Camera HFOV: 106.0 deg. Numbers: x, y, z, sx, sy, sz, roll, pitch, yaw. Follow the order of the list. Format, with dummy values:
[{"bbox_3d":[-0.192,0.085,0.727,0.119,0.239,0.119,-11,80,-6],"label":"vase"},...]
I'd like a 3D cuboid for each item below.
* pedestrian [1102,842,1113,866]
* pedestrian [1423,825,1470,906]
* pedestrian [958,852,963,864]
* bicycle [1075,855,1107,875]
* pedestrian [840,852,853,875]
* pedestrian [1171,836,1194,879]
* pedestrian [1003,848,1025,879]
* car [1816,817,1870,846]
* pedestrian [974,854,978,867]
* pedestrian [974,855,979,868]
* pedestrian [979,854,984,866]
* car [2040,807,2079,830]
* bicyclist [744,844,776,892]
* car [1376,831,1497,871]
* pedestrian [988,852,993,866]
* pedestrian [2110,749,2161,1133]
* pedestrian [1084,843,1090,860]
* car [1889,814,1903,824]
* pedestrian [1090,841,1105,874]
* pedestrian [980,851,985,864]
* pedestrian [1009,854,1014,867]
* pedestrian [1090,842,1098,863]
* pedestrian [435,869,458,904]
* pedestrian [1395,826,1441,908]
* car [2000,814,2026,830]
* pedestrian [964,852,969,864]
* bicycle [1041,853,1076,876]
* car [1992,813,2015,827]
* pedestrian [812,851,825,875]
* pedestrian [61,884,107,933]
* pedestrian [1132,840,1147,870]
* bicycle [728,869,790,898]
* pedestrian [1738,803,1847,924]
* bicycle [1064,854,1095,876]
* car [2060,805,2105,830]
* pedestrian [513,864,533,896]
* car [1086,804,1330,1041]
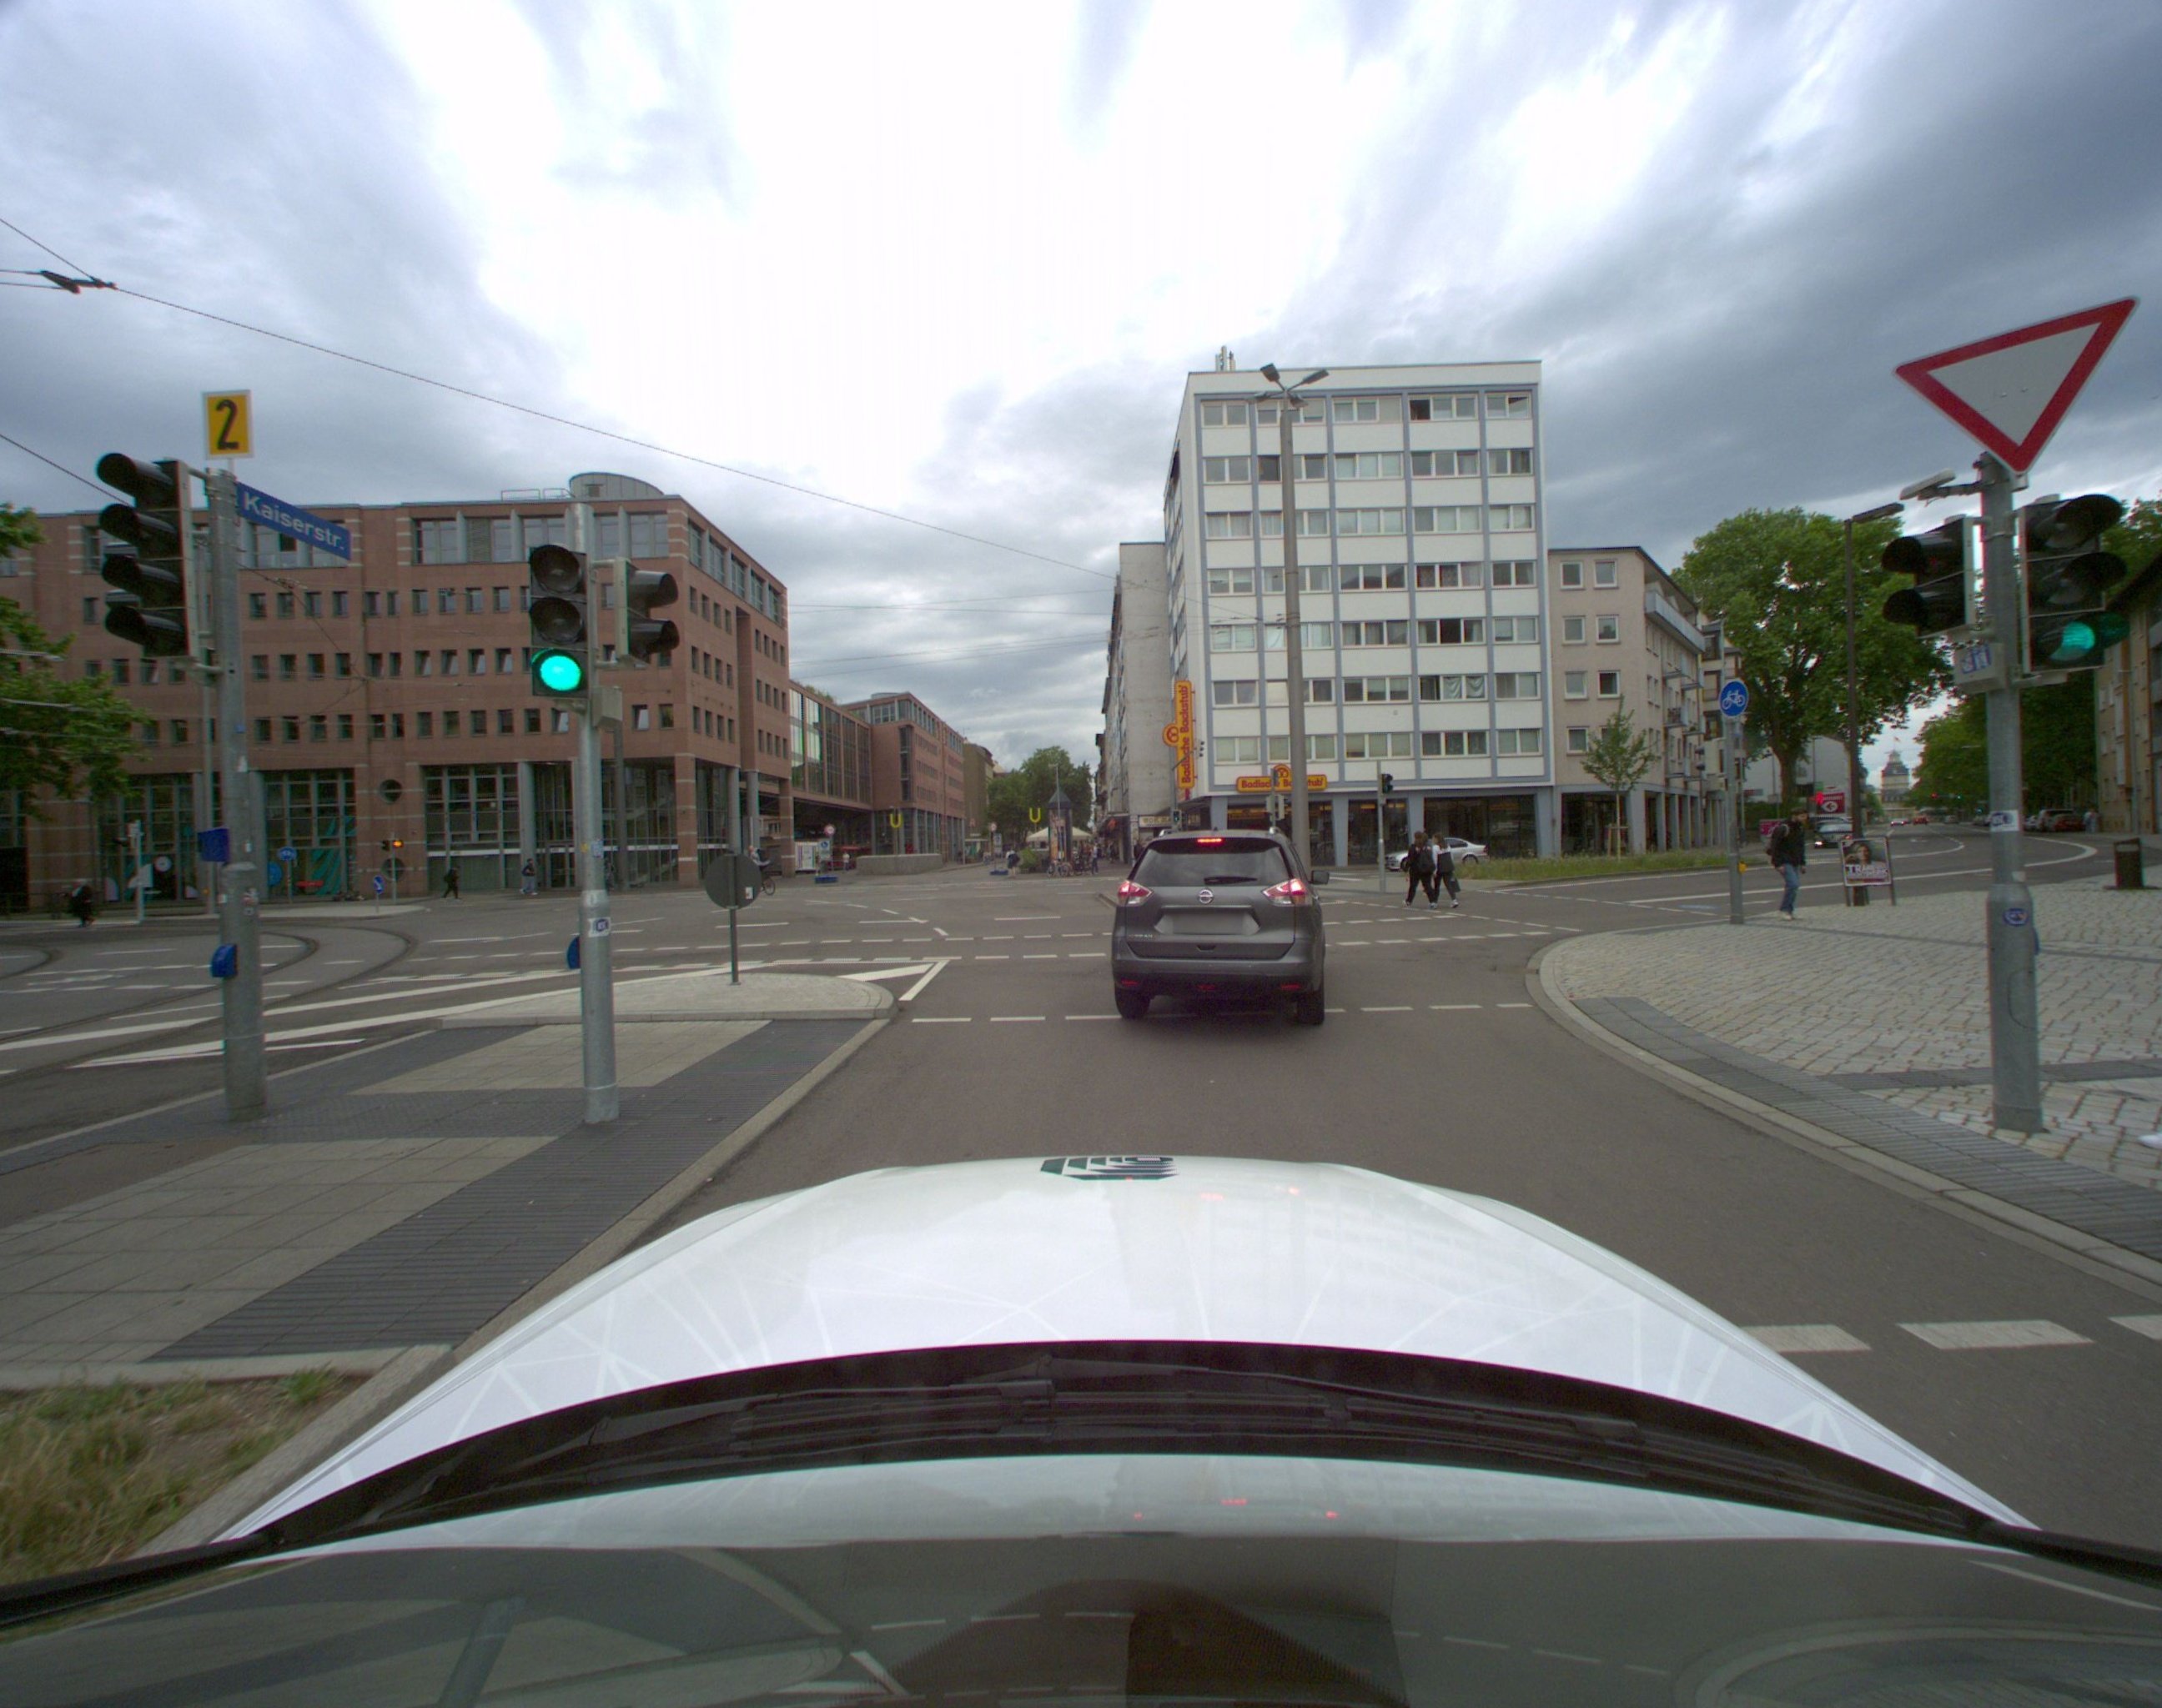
[{"bbox_3d":[2.068,-0.027,62.976,0.736,1.821,0.662,-2,0,-2],"label":"pedestrian"},{"bbox_3d":[8.071,0.246,18.022,0.620,1.761,0.778,-1,0,-7],"label":"pedestrian"},{"bbox_3d":[-17.162,0.597,115.697,0.600,1.714,0.654,-1,0,-7],"label":"pedestrian"},{"bbox_3d":[0.534,0.594,44.570,1.687,1.065,0.438,-1,0,6],"label":"bicycle"},{"bbox_3d":[-18.948,0.729,65.825,0.694,1.842,0.738,-1,0,20],"label":"pedestrian"},{"bbox_3d":[4.408,0.142,35.373,0.712,1.832,1.014,-1,0,-7],"label":"pedestrian"},{"bbox_3d":[-3.715,0.537,45.174,0.918,1.705,0.738,-1,0,20],"label":"pedestrian"},{"bbox_3d":[42.652,-1.282,45.527,4.592,1.481,1.727,-3,0,-41],"label":"car"},{"bbox_3d":[-14.689,0.888,113.762,0.600,1.714,0.654,-1,0,-7],"label":"pedestrian"},{"bbox_3d":[-13.598,0.947,105.558,0.600,1.714,0.654,-1,0,-7],"label":"pedestrian"},{"bbox_3d":[-14.119,0.897,115.737,0.600,1.714,0.654,-1,0,-7],"label":"pedestrian"},{"bbox_3d":[79.437,-2.892,66.151,4.006,1.774,1.847,-3,2,-43],"label":"car"},{"bbox_3d":[-12.545,0.544,31.849,0.866,1.812,0.842,-1,0,43],"label":"bicyclist"},{"bbox_3d":[15.559,-0.121,35.807,4.540,1.481,1.747,-3,0,-2],"label":"car"},{"bbox_3d":[-9.793,0.564,88.189,0.600,1.536,0.654,-1,0,-7],"label":"pedestrian"},{"bbox_3d":[5.219,0.396,3.626,0.522,1.761,0.600,-1,0,-7],"label":"pedestrian"},{"bbox_3d":[0.632,-0.231,82.007,0.609,1.705,0.620,-1,0,1],"label":"pedestrian"},{"bbox_3d":[157.092,-6.692,156.966,4.006,1.774,1.847,-3,2,-43],"label":"car"},{"bbox_3d":[0.895,0.202,44.171,0.731,1.745,0.661,-1,0,-8],"label":"pedestrian"},{"bbox_3d":[-12.756,0.489,105.366,0.600,1.714,0.654,-1,0,-7],"label":"pedestrian"},{"bbox_3d":[-8.995,0.872,105.348,0.600,1.714,0.654,-1,0,-7],"label":"pedestrian"},{"bbox_3d":[1.074,-0.090,67.249,0.640,1.705,0.559,-1,0,1],"label":"pedestrian"},{"bbox_3d":[-30.358,1.548,38.978,0.745,1.688,0.569,0,-1,-26],"label":"pedestrian"},{"bbox_3d":[7.421,0.279,17.965,0.620,1.761,0.778,-1,0,-7],"label":"pedestrian"},{"bbox_3d":[110.922,-3.827,96.947,4.006,1.774,1.847,-3,2,-43],"label":"car"},{"bbox_3d":[-16.237,0.582,115.525,0.600,1.714,0.654,-1,0,-7],"label":"pedestrian"},{"bbox_3d":[-1.222,0.568,44.338,1.870,1.171,0.528,-1,0,-14],"label":"bicycle"},{"bbox_3d":[122.181,-4.479,107.872,4.006,1.774,1.847,-3,2,-43],"label":"car"},{"bbox_3d":[-19.724,0.677,61.264,0.697,1.842,0.735,-1,0,2],"label":"pedestrian"},{"bbox_3d":[-32.792,1.790,26.789,0.569,1.560,0.745,-1,-1,6],"label":"pedestrian"},{"bbox_3d":[3.376,0.070,46.910,0.705,1.705,0.737,-1,0,13],"label":"pedestrian"},{"bbox_3d":[-12.662,1.146,31.946,3.236,1.045,0.910,-2,0,42],"label":"bicycle"},{"bbox_3d":[11.738,0.149,13.486,0.798,1.862,1.156,-4,0,10],"label":"pedestrian"},{"bbox_3d":[-0.093,0.614,45.136,1.694,1.171,0.436,-1,0,-7],"label":"bicycle"},{"bbox_3d":[74.304,-2.701,60.456,4.006,1.774,1.847,-3,2,-43],"label":"car"},{"bbox_3d":[-27.778,1.290,40.564,0.745,1.560,0.569,0,-1,-26],"label":"pedestrian"},{"bbox_3d":[1.584,0.515,8.563,1.849,1.775,4.586,-2,0,16],"label":"car"}]
